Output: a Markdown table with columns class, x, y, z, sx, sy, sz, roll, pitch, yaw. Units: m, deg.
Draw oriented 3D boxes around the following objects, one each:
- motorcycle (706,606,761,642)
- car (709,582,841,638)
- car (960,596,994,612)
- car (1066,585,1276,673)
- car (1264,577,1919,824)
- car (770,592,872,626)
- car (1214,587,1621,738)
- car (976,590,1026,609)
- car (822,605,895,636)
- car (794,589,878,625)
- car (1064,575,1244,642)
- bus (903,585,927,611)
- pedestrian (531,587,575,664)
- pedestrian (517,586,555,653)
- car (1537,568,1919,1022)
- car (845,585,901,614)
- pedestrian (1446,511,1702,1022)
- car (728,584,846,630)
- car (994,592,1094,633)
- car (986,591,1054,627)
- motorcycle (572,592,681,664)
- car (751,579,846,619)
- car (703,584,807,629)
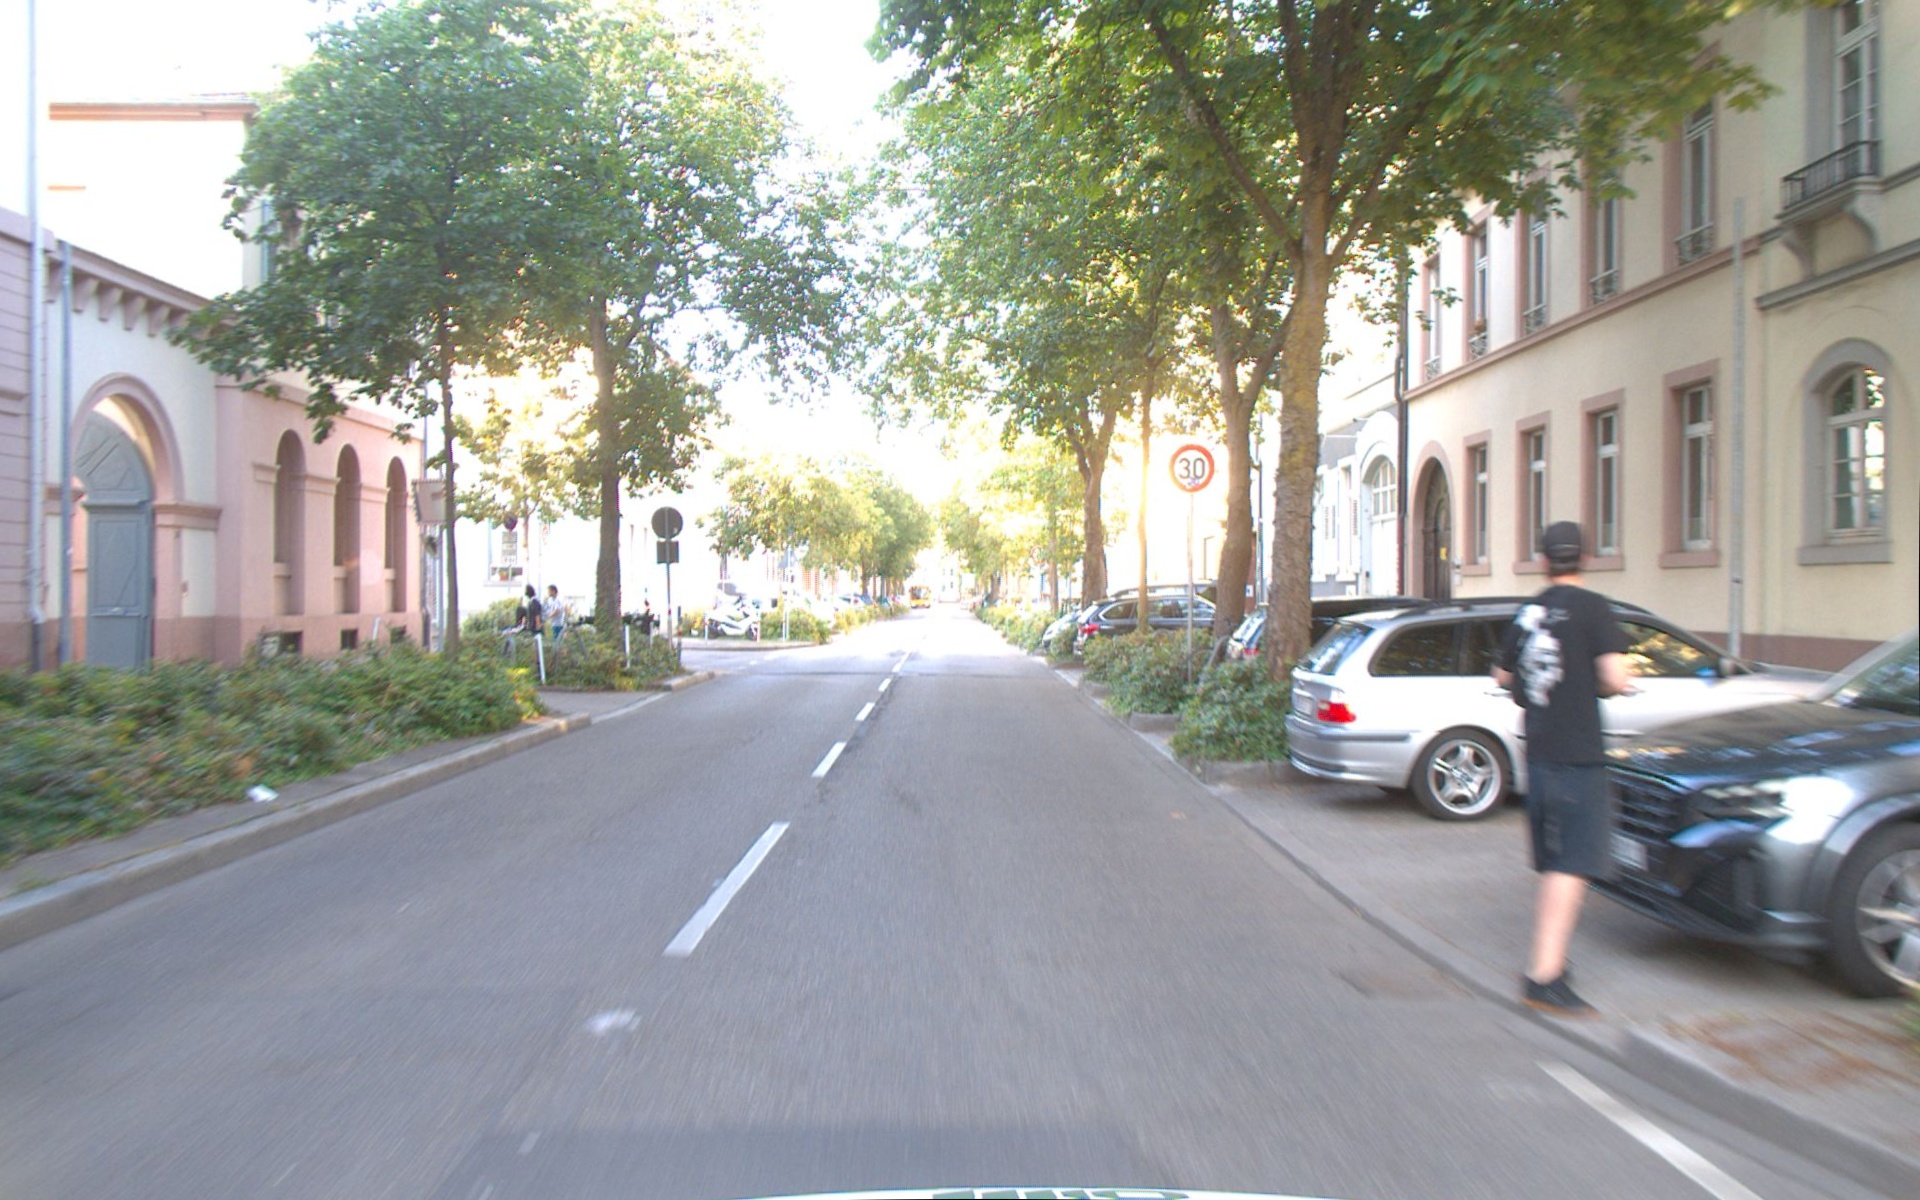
| class | x | y | z | sx | sy | sz | roll | pitch | yaw |
| --- | --- | --- | --- | --- | --- | --- | --- | --- | --- |
| motorcycle | -7.006 | 0.746 | 51.134 | 1.603 | 1.087 | 0.656 | 0 | 1 | -1 |
| car | -7.298 | 0.362 | 65.717 | 4.961 | 2.119 | 2.263 | -1 | 1 | -1 |
| car | 2.013 | 0.441 | 198.725 | 3.902 | 1.870 | 2.002 | 0 | 0 | 7 |
| car | 4.157 | 0.549 | 33.025 | 3.933 | 1.651 | 1.780 | -1 | 1 | -2 |
| car | 4.431 | 0.654 | 11.907 | 4.107 | 1.506 | 1.852 | -2 | 1 | -1 |
| car | -7.176 | 0.475 | 85.786 | 4.958 | 1.645 | 2.264 | -1 | 1 | 3 |
| car | 4.876 | 0.637 | 17.998 | 3.933 | 1.506 | 1.780 | -1 | 1 | -2 |
| car | 3.227 | -0.025 | 130.961 | 3.907 | 1.467 | 1.696 | -1 | 1 | -2 |
| car | -7.233 | 1.432 | 118.211 | 4.960 | 2.119 | 2.263 | -1 | 1 | 1 |
| car | -7.609 | 0.433 | 102.039 | 4.960 | 2.119 | 2.263 | -1 | 1 | 1 |
| car | 4.476 | 0.187 | 38.561 | 3.933 | 1.443 | 1.780 | -1 | 1 | -2 |
| bus | -5.860 | -0.311 | 216.459 | 2.967 | 3.246 | 9.400 | 0 | 1 | -1 |
| pedestrian | -9.025 | 0.558 | 36.695 | 0.703 | 1.693 | 0.838 | -1 | 0 | 2 |
| pedestrian | -9.170 | 0.413 | 35.764 | 0.641 | 1.419 | 0.607 | 1 | 0 | -1 |
| car | 4.785 | 0.623 | 6.944 | 4.025 | 1.516 | 1.850 | -3 | 2 | -2 |
| car | -6.368 | -0.015 | 121.109 | 3.905 | 2.049 | 2.000 | -1 | 1 | 1 |
| pedestrian | 2.402 | 0.616 | 6.555 | 0.777 | 1.901 | 0.752 | 0 | 0 | 5 |
| car | -7.646 | 0.310 | 73.535 | 4.959 | 1.855 | 2.264 | -1 | 3 | 1 |
| car | 3.833 | 0.545 | 75.999 | 4.498 | 1.792 | 2.222 | -1 | 1 | 0 |
| car | 3.473 | 0.515 | 95.452 | 3.904 | 2.049 | 2.001 | 0 | 0 | 3 |
| motorcycle | -6.150 | 0.511 | 30.535 | 1.880 | 1.280 | 0.591 | 0 | 0 | -1 |
| car | -8.863 | -0.087 | 91.162 | 4.959 | 2.119 | 2.263 | -1 | 1 | 1 |
| car | -7.436 | 0.222 | 60.321 | 3.652 | 1.534 | 1.872 | -1 | 1 | -4 |
